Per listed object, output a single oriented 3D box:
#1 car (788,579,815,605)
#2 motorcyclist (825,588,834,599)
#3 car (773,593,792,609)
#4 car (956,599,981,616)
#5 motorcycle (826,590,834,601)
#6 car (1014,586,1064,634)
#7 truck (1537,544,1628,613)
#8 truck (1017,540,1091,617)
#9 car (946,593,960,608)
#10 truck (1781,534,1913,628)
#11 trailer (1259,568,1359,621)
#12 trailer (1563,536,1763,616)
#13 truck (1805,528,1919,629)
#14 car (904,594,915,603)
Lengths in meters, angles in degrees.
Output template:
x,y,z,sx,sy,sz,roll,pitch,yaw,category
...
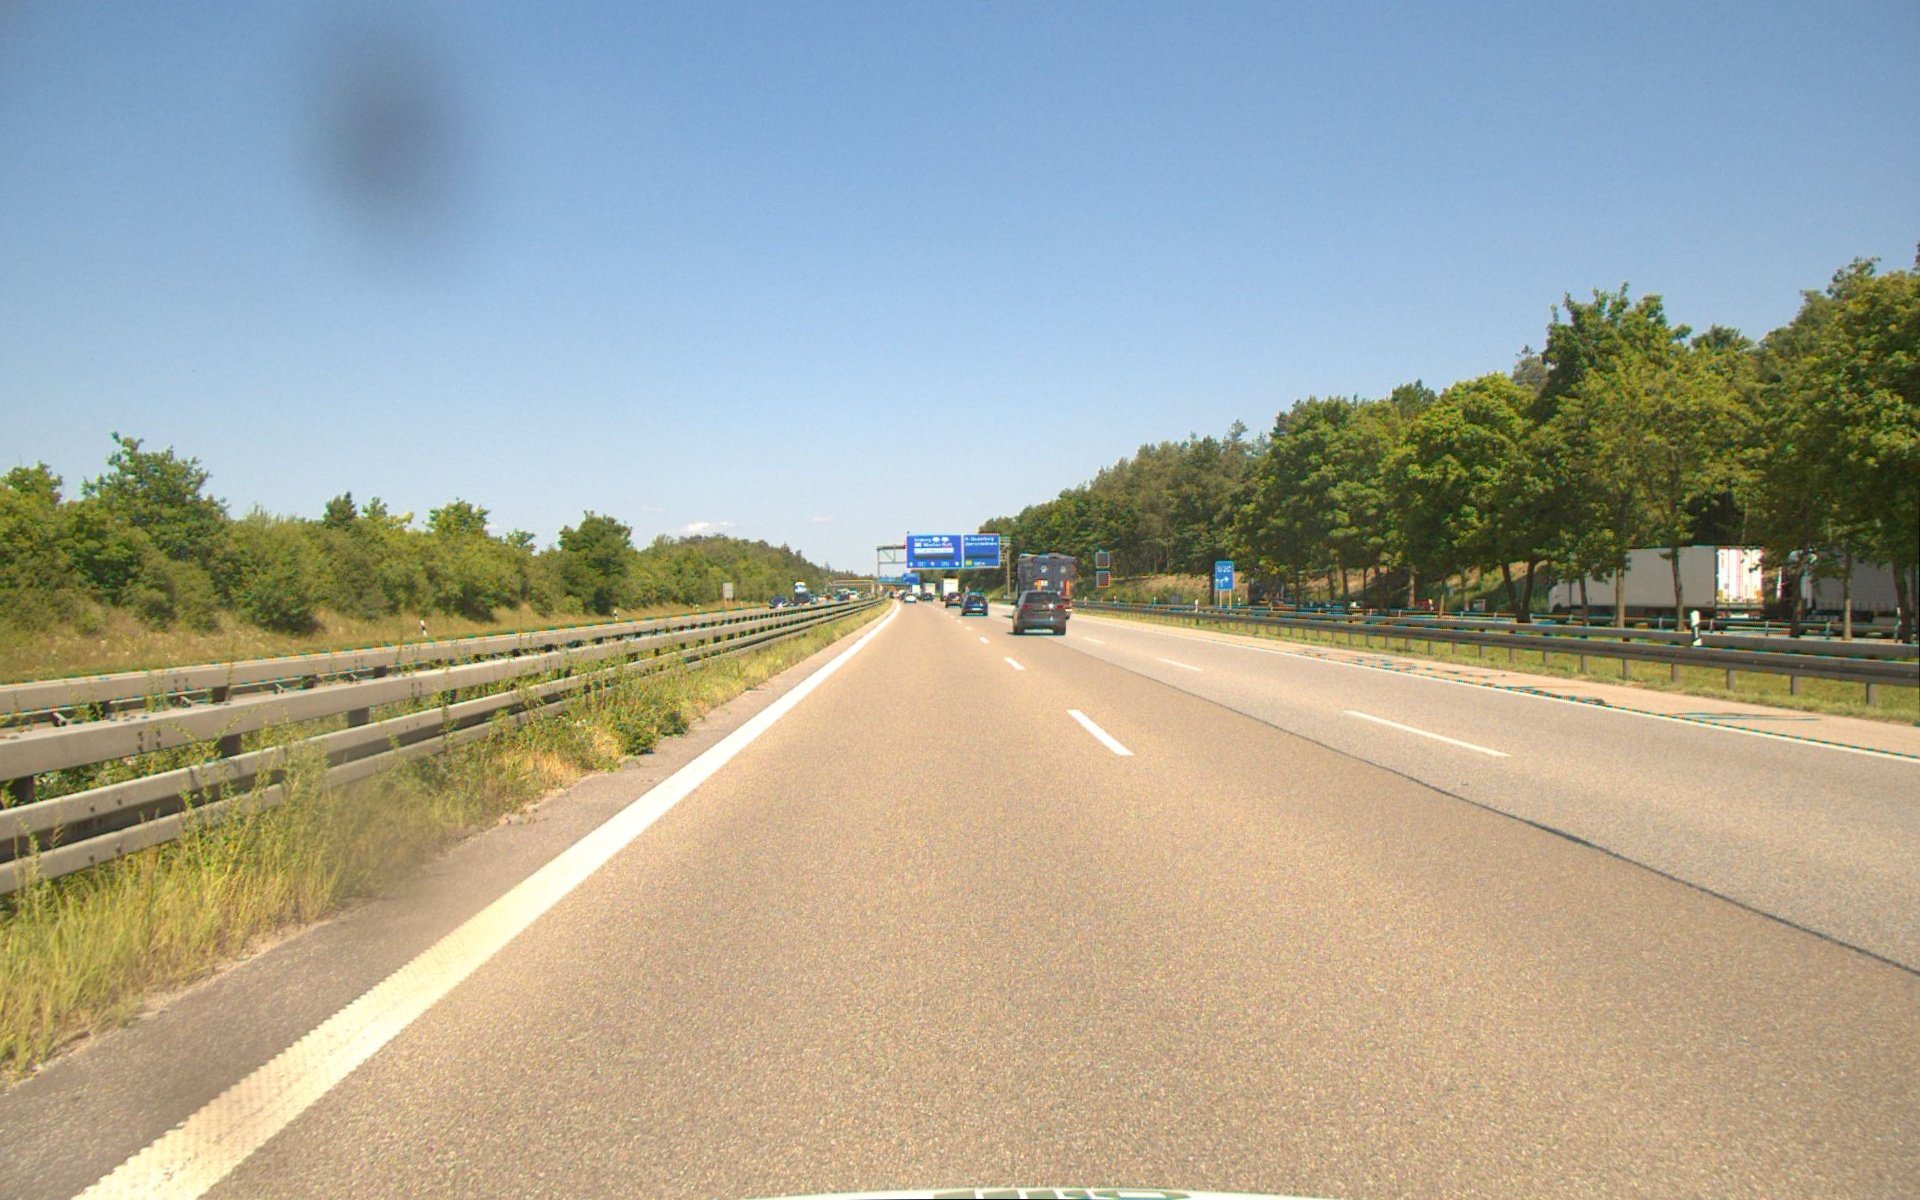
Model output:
x,y,z,sx,sy,sz,roll,pitch,yaw,category
-13.716,-0.673,143.490,1.953,2.146,4.301,-2,0,-1,car
-13.297,-0.662,168.491,0.857,1.095,0.811,-2,0,-1,motorcyclist
-16.843,0.097,156.750,1.482,1.512,3.372,-1,0,-1,car
0.585,0.504,113.581,1.674,1.176,3.689,-1,0,-1,car
-13.290,-0.489,168.525,0.650,1.095,1.881,-2,0,-1,motorcycle
2.942,0.352,62.145,1.762,1.698,4.259,1,0,2,car
35.444,-1.203,94.370,2.756,3.863,5.136,0,0,-8,truck
5.783,-1.304,104.331,3.703,4.499,14.048,0,0,-1,truck
-0.747,0.032,172.505,1.441,1.422,3.410,2,0,-1,car
38.706,-0.810,72.366,2.913,4.000,4.828,0,0,-5,truck
27.483,-0.426,131.119,2.528,3.983,12.702,0,0,-14,trailer
36.479,-1.166,86.796,2.804,3.863,14.164,0,0,-8,trailer
39.331,-0.849,65.778,2.938,4.000,14.444,0,0,-5,truck
-7.110,-0.203,234.679,1.441,1.249,3.410,-1,0,-1,car
